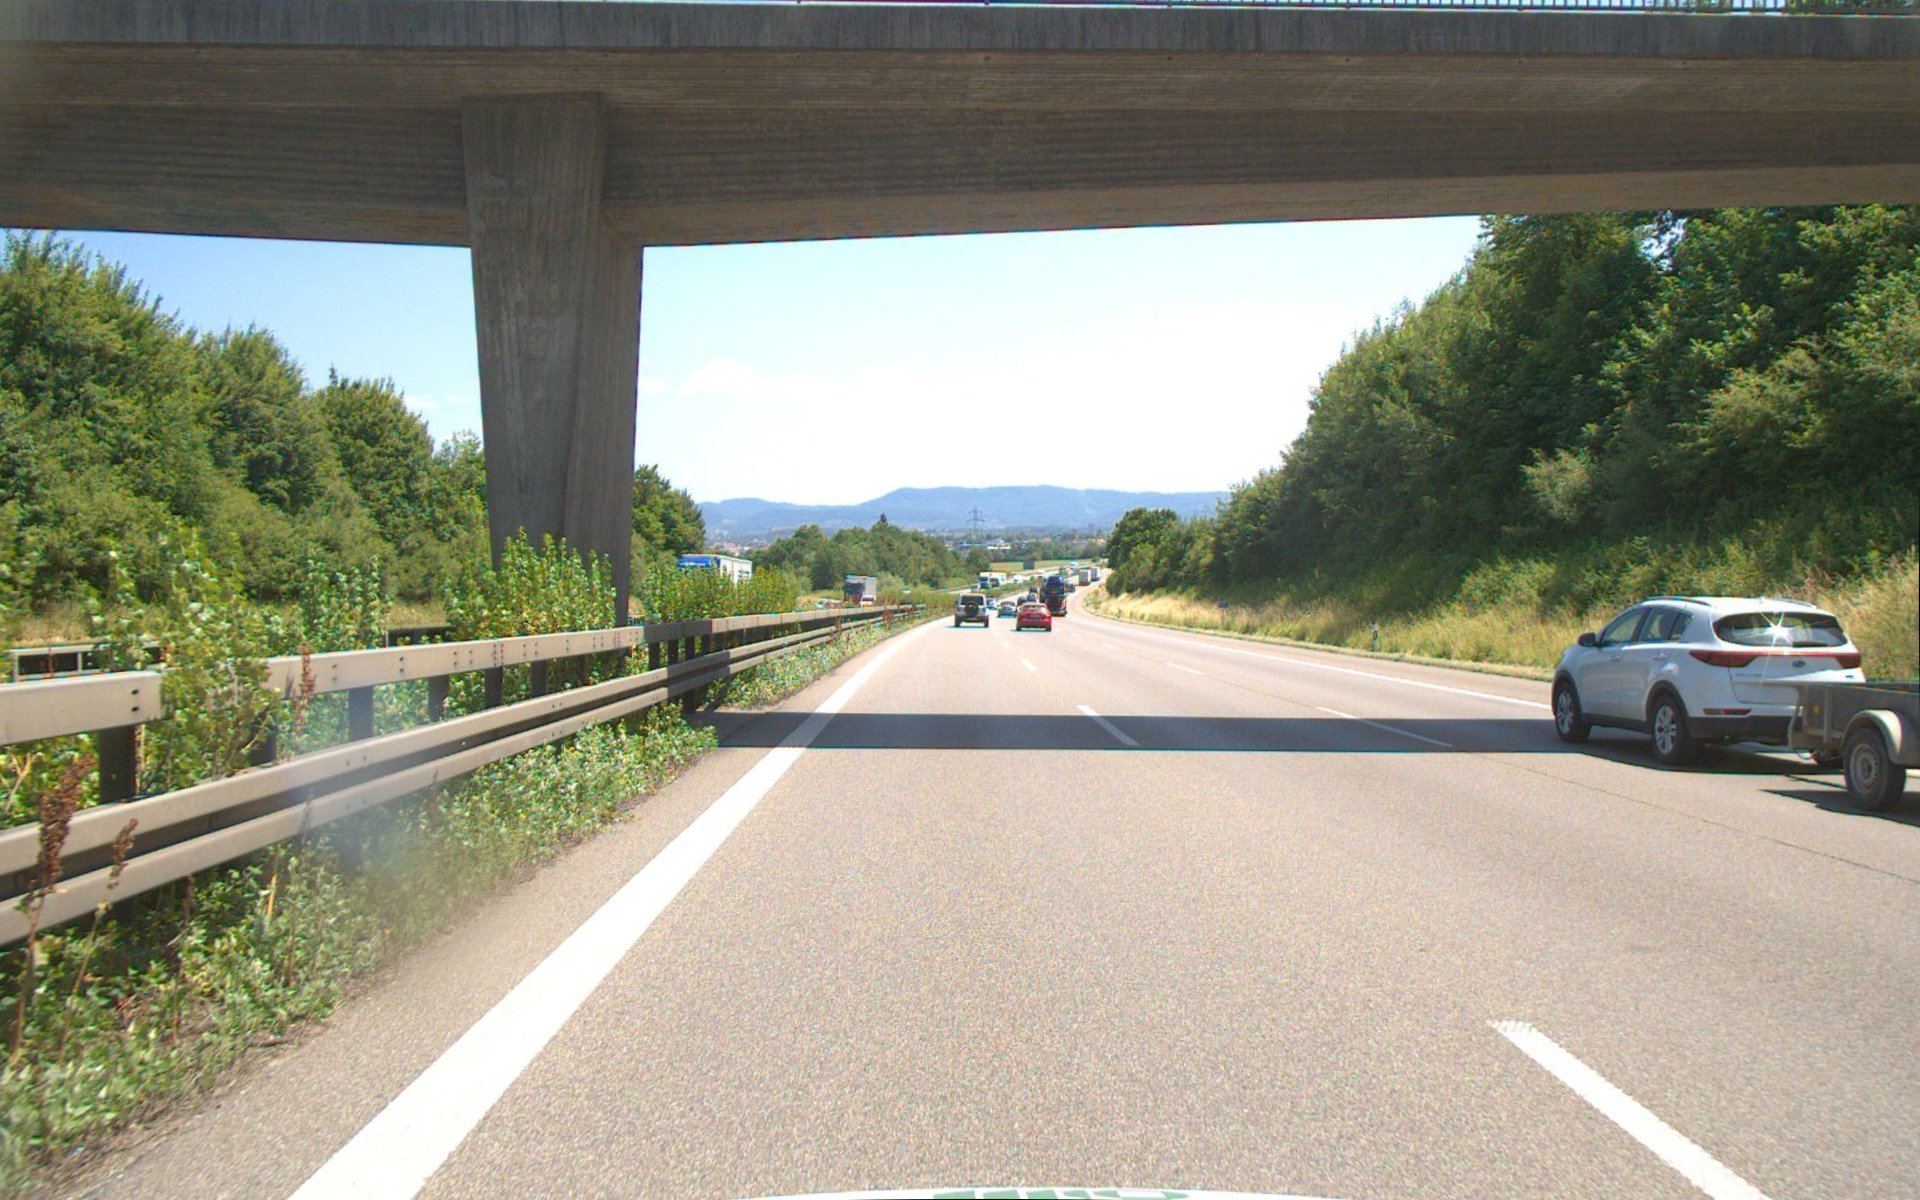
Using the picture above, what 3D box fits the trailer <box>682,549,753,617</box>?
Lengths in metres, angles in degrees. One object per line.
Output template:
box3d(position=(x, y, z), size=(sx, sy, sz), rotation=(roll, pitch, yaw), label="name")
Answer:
box3d(position=(-16.537, -1.213, 113.775), size=(2.580, 4.327, 14.678), rotation=(1, 1, 0), label="trailer")

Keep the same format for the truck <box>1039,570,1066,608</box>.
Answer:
box3d(position=(10.007, -1.236, 178.801), size=(2.697, 3.919, 6.646), rotation=(1, 1, 2), label="truck")

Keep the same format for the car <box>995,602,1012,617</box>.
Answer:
box3d(position=(3.948, 0.833, 149.638), size=(1.422, 1.289, 3.539), rotation=(1, 1, 1), label="car")

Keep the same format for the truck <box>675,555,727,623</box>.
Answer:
box3d(position=(-16.597, -0.736, 106.187), size=(2.441, 4.190, 5.084), rotation=(1, 1, 0), label="truck")

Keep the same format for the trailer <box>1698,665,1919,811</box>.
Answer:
box3d(position=(7.913, 1.102, 13.549), size=(1.719, 0.924, 4.318), rotation=(1, 0, -2), label="trailer")

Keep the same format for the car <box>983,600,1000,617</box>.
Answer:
box3d(position=(3.981, 1.094, 210.892), size=(1.661, 2.048, 3.826), rotation=(1, 1, 9), label="car")

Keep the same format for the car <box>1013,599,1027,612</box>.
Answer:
box3d(position=(8.833, 0.806, 243.439), size=(1.600, 1.734, 3.404), rotation=(1, 1, 9), label="car")

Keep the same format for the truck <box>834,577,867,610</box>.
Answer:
box3d(position=(-14.256, -0.882, 216.958), size=(2.914, 4.084, 16.829), rotation=(1, 0, 1), label="truck")

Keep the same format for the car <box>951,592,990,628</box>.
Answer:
box3d(position=(0.585, 0.537, 93.172), size=(2.041, 1.861, 4.753), rotation=(1, 1, -1), label="car")

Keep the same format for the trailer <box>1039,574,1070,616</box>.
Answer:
box3d(position=(9.686, -0.647, 170.813), size=(2.796, 4.063, 15.402), rotation=(1, 1, 2), label="trailer")

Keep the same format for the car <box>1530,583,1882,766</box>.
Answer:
box3d(position=(7.870, 0.690, 17.962), size=(1.745, 1.679, 4.402), rotation=(1, 1, -1), label="car")

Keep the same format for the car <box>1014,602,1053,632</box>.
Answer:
box3d(position=(3.730, 0.864, 84.628), size=(1.652, 1.403, 3.947), rotation=(1, 1, -3), label="car")
